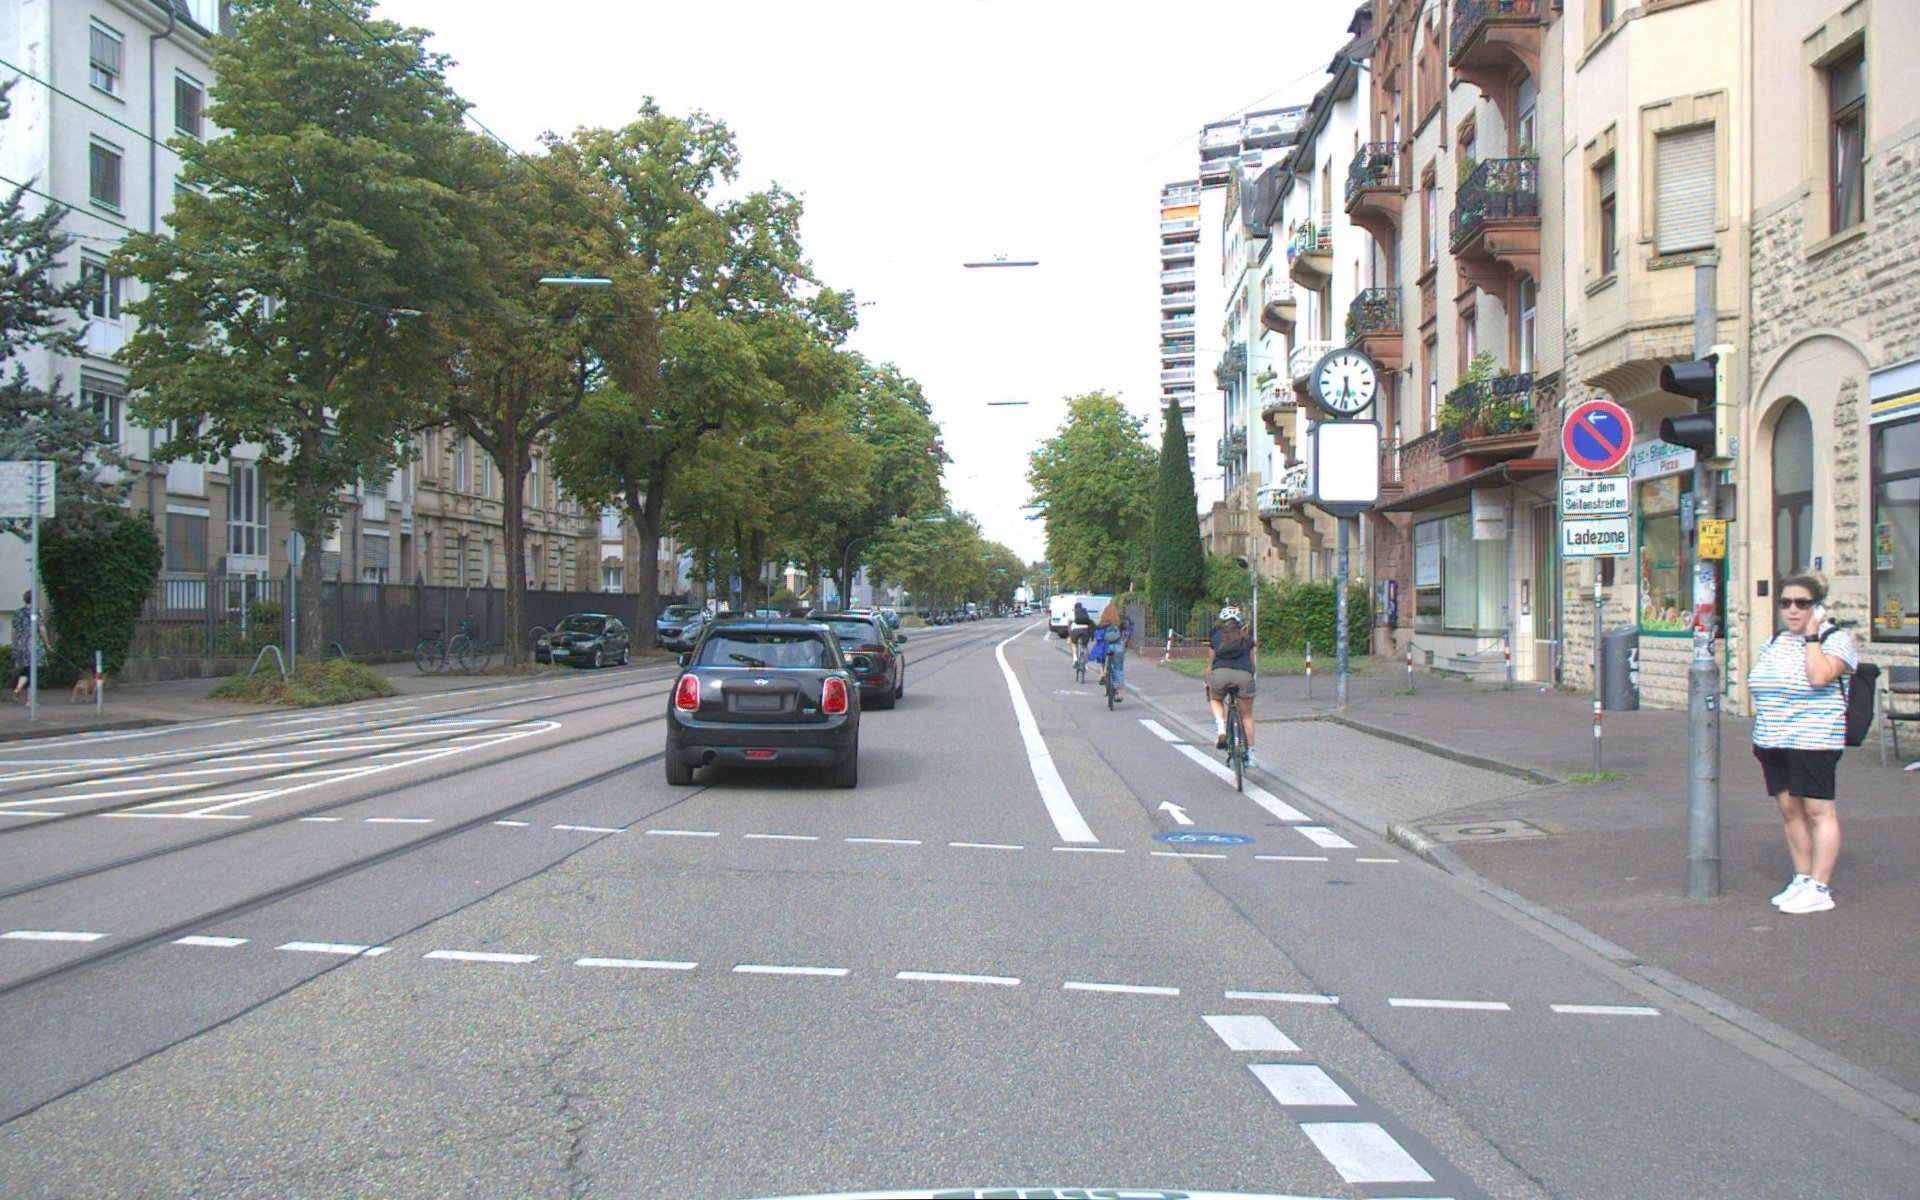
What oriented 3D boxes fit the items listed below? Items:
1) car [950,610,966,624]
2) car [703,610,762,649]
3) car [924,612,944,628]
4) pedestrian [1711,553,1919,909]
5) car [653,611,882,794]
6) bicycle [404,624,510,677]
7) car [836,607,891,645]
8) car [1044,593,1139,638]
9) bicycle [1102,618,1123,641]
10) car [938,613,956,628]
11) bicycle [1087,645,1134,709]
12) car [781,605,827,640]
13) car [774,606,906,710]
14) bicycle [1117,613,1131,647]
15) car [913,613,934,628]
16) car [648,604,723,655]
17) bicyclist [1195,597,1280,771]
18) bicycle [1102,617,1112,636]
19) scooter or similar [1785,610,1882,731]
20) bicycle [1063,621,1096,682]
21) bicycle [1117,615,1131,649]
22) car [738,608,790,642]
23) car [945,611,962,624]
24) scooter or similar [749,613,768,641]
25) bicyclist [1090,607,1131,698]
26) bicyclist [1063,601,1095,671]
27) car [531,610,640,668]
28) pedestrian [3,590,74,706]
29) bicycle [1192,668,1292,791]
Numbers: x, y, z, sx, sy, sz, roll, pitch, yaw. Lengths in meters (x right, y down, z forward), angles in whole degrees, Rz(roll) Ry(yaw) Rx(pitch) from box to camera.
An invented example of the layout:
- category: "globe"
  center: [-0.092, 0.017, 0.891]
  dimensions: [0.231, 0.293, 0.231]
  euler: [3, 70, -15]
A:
- category: "car"
  center: [-0.228, 2.157, 209.016]
  dimensions: [1.765, 1.611, 4.032]
  euler: [-1, -1, 3]
- category: "car"
  center: [-8.961, 1.133, 65.487]
  dimensions: [1.567, 1.494, 4.080]
  euler: [0, 0, 3]
- category: "car"
  center: [-2.698, 2.030, 170.276]
  dimensions: [1.765, 1.611, 4.032]
  euler: [-1, -1, 3]
- category: "pedestrian"
  center: [4.425, 0.639, 8.459]
  dimensions: [0.704, 1.689, 0.759]
  euler: [-4, -1, 0]
- category: "car"
  center: [-1.675, 0.859, 15.631]
  dimensions: [1.757, 1.448, 3.998]
  euler: [2, 0, -2]
- category: "bicycle"
  center: [-11.605, 1.159, 38.159]
  dimensions: [2.205, 1.196, 0.827]
  euler: [1, -1, -30]
- category: "car"
  center: [-3.963, 1.049, 68.317]
  dimensions: [1.537, 1.441, 4.003]
  euler: [-2, 0, 7]
- category: "car"
  center: [7.098, 0.861, 88.972]
  dimensions: [4.911, 2.330, 2.351]
  euler: [1, -1, -40]
- category: "bicycle"
  center: [6.264, 1.226, 67.944]
  dimensions: [0.476, 0.923, 1.662]
  euler: [-1, -1, -8]
- category: "car"
  center: [-1.488, 2.353, 190.257]
  dimensions: [1.765, 1.611, 4.032]
  euler: [-1, -1, 3]
- category: "bicycle"
  center: [2.560, 1.275, 27.939]
  dimensions: [0.674, 0.979, 2.038]
  euler: [0, 0, 8]
- category: "car"
  center: [-7.978, 1.127, 84.782]
  dimensions: [1.685, 1.684, 4.543]
  euler: [2, 0, 3]
- category: "car"
  center: [-1.855, 0.879, 26.658]
  dimensions: [1.757, 1.496, 4.000]
  euler: [2, 0, 0]
- category: "bicycle"
  center: [5.774, 1.030, 58.227]
  dimensions: [0.383, 1.162, 1.921]
  euler: [-1, 0, 4]
- category: "car"
  center: [-3.514, 2.001, 159.909]
  dimensions: [1.765, 1.398, 4.032]
  euler: [-1, -1, 3]
- category: "car"
  center: [-9.540, 0.987, 57.761]
  dimensions: [1.674, 1.703, 4.359]
  euler: [0, 0, 3]
- category: "bicyclist"
  center: [2.648, 0.782, 15.858]
  dimensions: [0.625, 1.597, 1.110]
  euler: [1, -1, 1]
- category: "bicycle"
  center: [7.150, 1.292, 80.609]
  dimensions: [0.378, 0.923, 1.842]
  euler: [-1, -1, 2]
- category: "scooter or similar"
  center: [9.022, 0.711, 17.114]
  dimensions: [0.389, 1.188, 1.197]
  euler: [-2, 0, 4]
- category: "bicycle"
  center: [2.616, 1.115, 36.279]
  dimensions: [0.643, 1.271, 2.125]
  euler: [1, 0, 2]
- category: "bicycle"
  center: [5.509, 1.063, 55.522]
  dimensions: [0.383, 1.122, 1.760]
  euler: [-1, 0, 4]
- category: "car"
  center: [-8.982, 1.126, 76.115]
  dimensions: [1.685, 1.448, 4.024]
  euler: [2, 0, 3]
- category: "car"
  center: [-0.759, 2.101, 199.949]
  dimensions: [1.765, 1.611, 4.032]
  euler: [-1, -1, 3]
- category: "scooter or similar"
  center: [-8.907, 1.197, 73.213]
  dimensions: [0.552, 1.244, 1.316]
  euler: [1, -1, -20]
- category: "bicyclist"
  center: [2.508, 0.863, 27.594]
  dimensions: [0.633, 1.496, 0.801]
  euler: [-1, 0, 8]
- category: "bicyclist"
  center: [2.608, 0.782, 36.258]
  dimensions: [0.643, 1.489, 1.179]
  euler: [1, 0, 2]
- category: "car"
  center: [-10.323, 1.050, 45.920]
  dimensions: [1.684, 1.449, 4.168]
  euler: [2, 0, 5]
- category: "pedestrian"
  center: [-14.348, 0.738, 25.765]
  dimensions: [0.690, 1.766, 0.701]
  euler: [1, -1, -1]
- category: "bicycle"
  center: [2.641, 1.188, 15.659]
  dimensions: [0.625, 0.998, 2.072]
  euler: [1, 0, 1]
